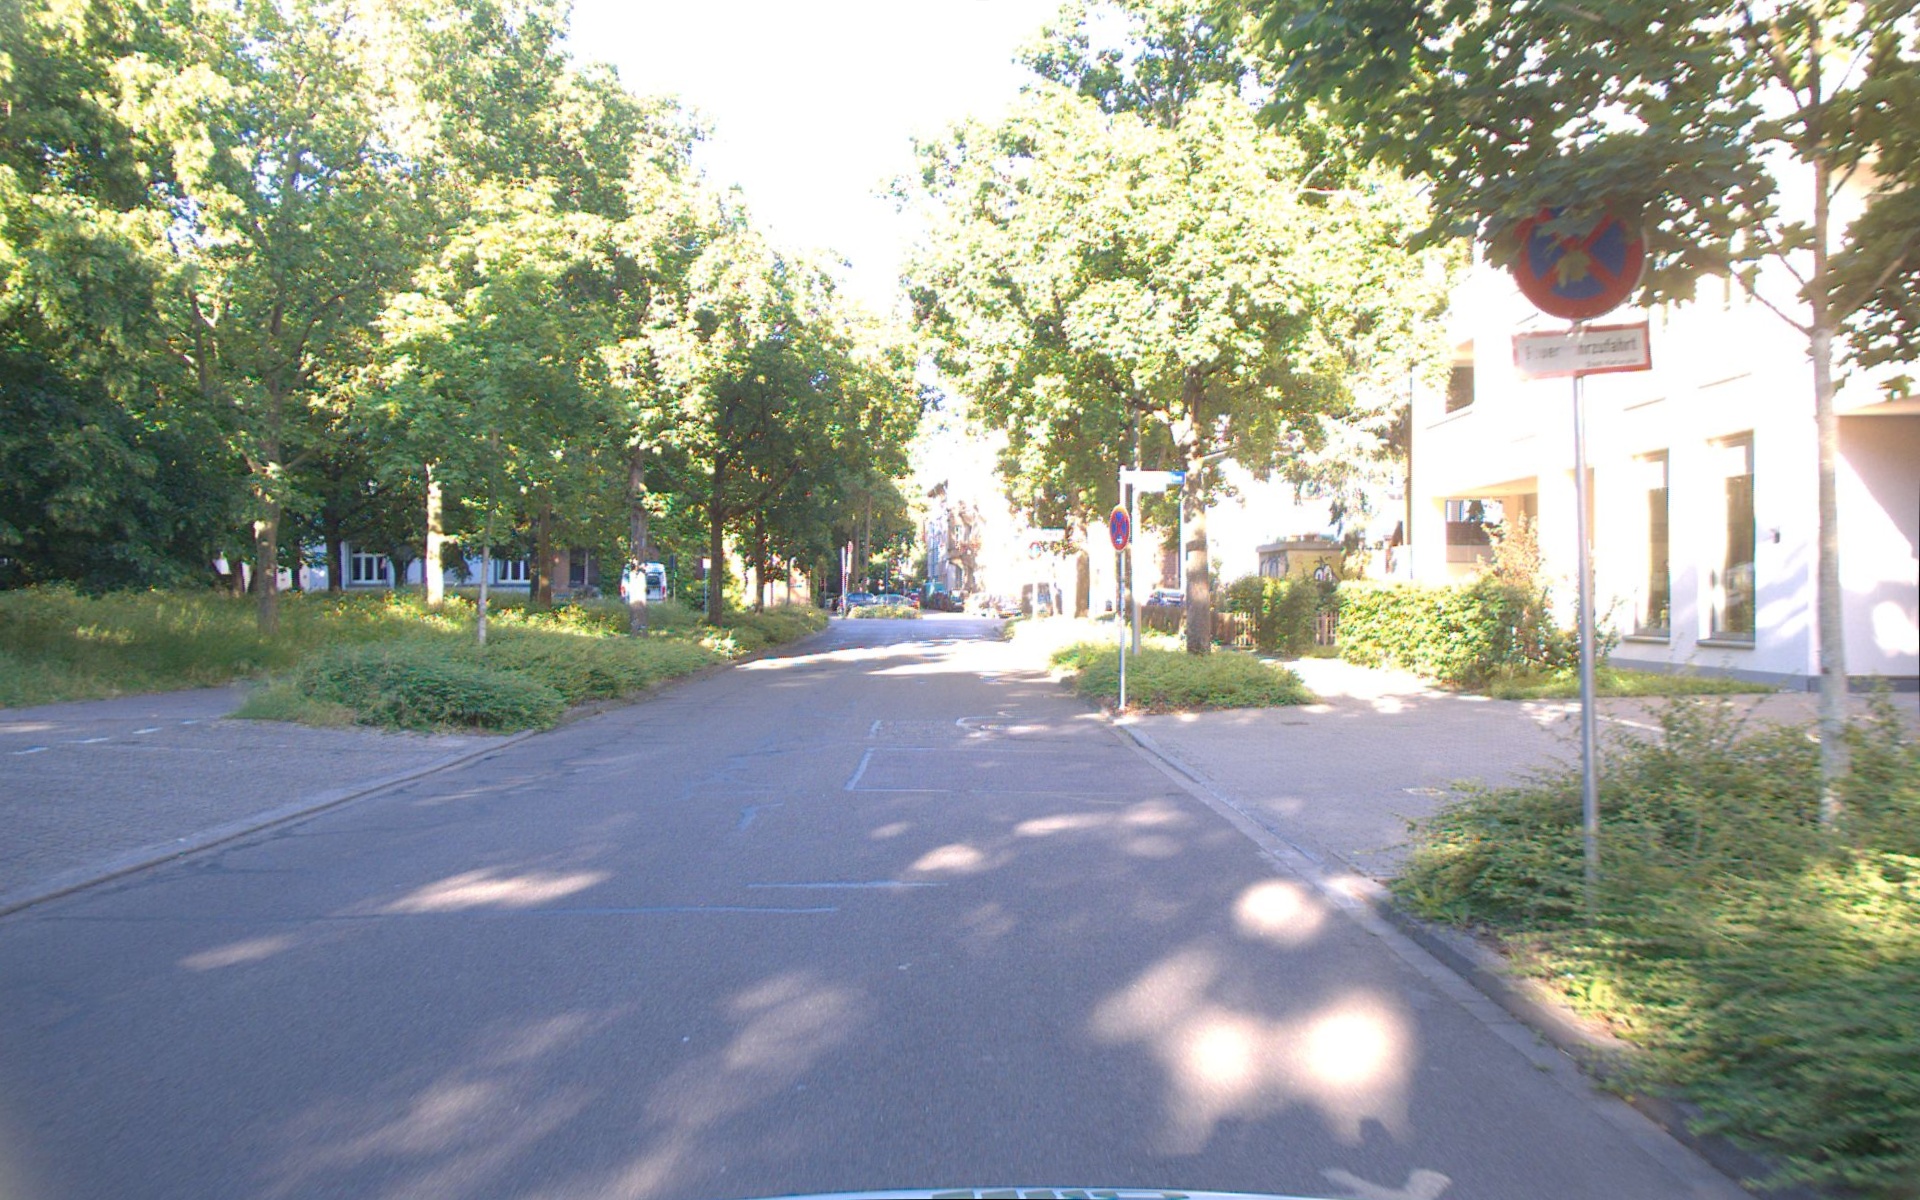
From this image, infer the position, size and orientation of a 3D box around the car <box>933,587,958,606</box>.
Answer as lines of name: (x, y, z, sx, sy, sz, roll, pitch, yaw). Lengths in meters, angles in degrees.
car: (-1.220, -0.319, 136.553, 1.775, 1.527, 3.997, 1, 0, -4)

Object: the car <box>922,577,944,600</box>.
car: (-2.501, -1.063, 153.269, 1.775, 2.086, 3.997, 1, 0, -4)

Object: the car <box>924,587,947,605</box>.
car: (-2.113, -0.355, 143.126, 1.775, 1.527, 3.997, 1, 0, -4)

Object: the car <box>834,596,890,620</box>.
car: (-6.515, 0.537, 109.870, 3.520, 1.536, 1.497, 1, 0, -9)

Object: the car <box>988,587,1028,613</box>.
car: (2.844, -0.027, 99.618, 1.777, 1.527, 3.993, 0, 1, -8)

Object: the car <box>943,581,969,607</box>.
car: (-0.335, -0.478, 128.425, 1.775, 1.959, 3.997, 1, 0, -4)

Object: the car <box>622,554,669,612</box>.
car: (-14.426, -0.768, 76.115, 1.957, 2.552, 3.992, 1, 0, -9)

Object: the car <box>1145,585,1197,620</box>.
car: (10.178, 0.100, 79.971, 1.953, 1.612, 3.639, 1, 0, -1)

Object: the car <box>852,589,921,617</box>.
car: (-4.368, 0.154, 97.678, 3.913, 1.527, 1.814, 1, 0, -9)

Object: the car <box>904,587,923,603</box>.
car: (-4.808, -0.511, 170.220, 1.775, 1.527, 3.997, 1, 0, -4)
